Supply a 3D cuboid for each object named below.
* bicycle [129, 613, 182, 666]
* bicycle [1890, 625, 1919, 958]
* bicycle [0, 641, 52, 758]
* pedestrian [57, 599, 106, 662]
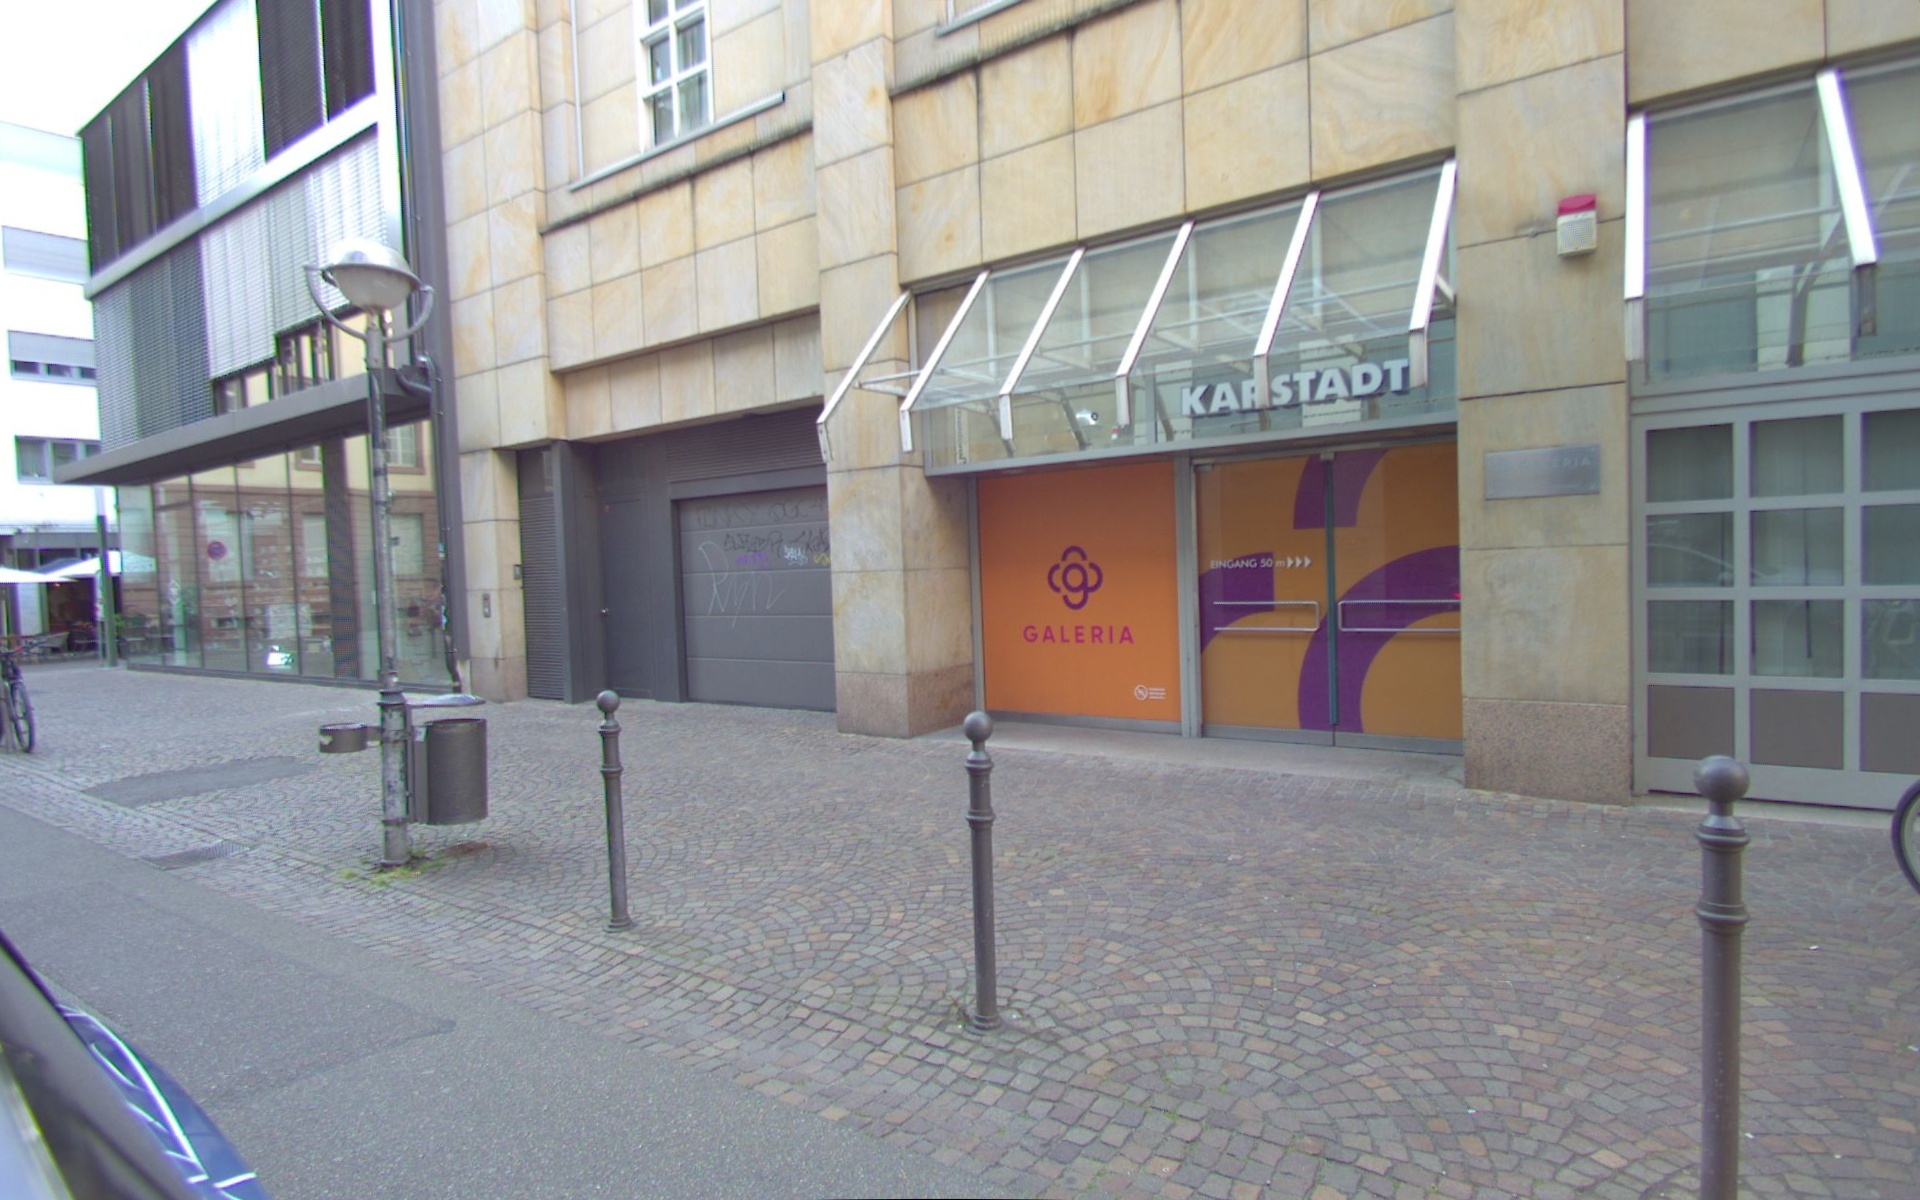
[{"bbox_3d":[-18.814,0.939,23.653,1.699,1.144,0.461,-4,0,35],"label":"bicycle"},{"bbox_3d":[4.112,0.665,3.101,0.685,1.120,1.779,-3,1,-40],"label":"bicycle"},{"bbox_3d":[-10.283,1.017,10.727,1.924,1.141,0.407,-1,2,32],"label":"bicycle"},{"bbox_3d":[-23.726,0.821,27.324,0.789,1.661,0.718,-2,1,30],"label":"pedestrian"}]
